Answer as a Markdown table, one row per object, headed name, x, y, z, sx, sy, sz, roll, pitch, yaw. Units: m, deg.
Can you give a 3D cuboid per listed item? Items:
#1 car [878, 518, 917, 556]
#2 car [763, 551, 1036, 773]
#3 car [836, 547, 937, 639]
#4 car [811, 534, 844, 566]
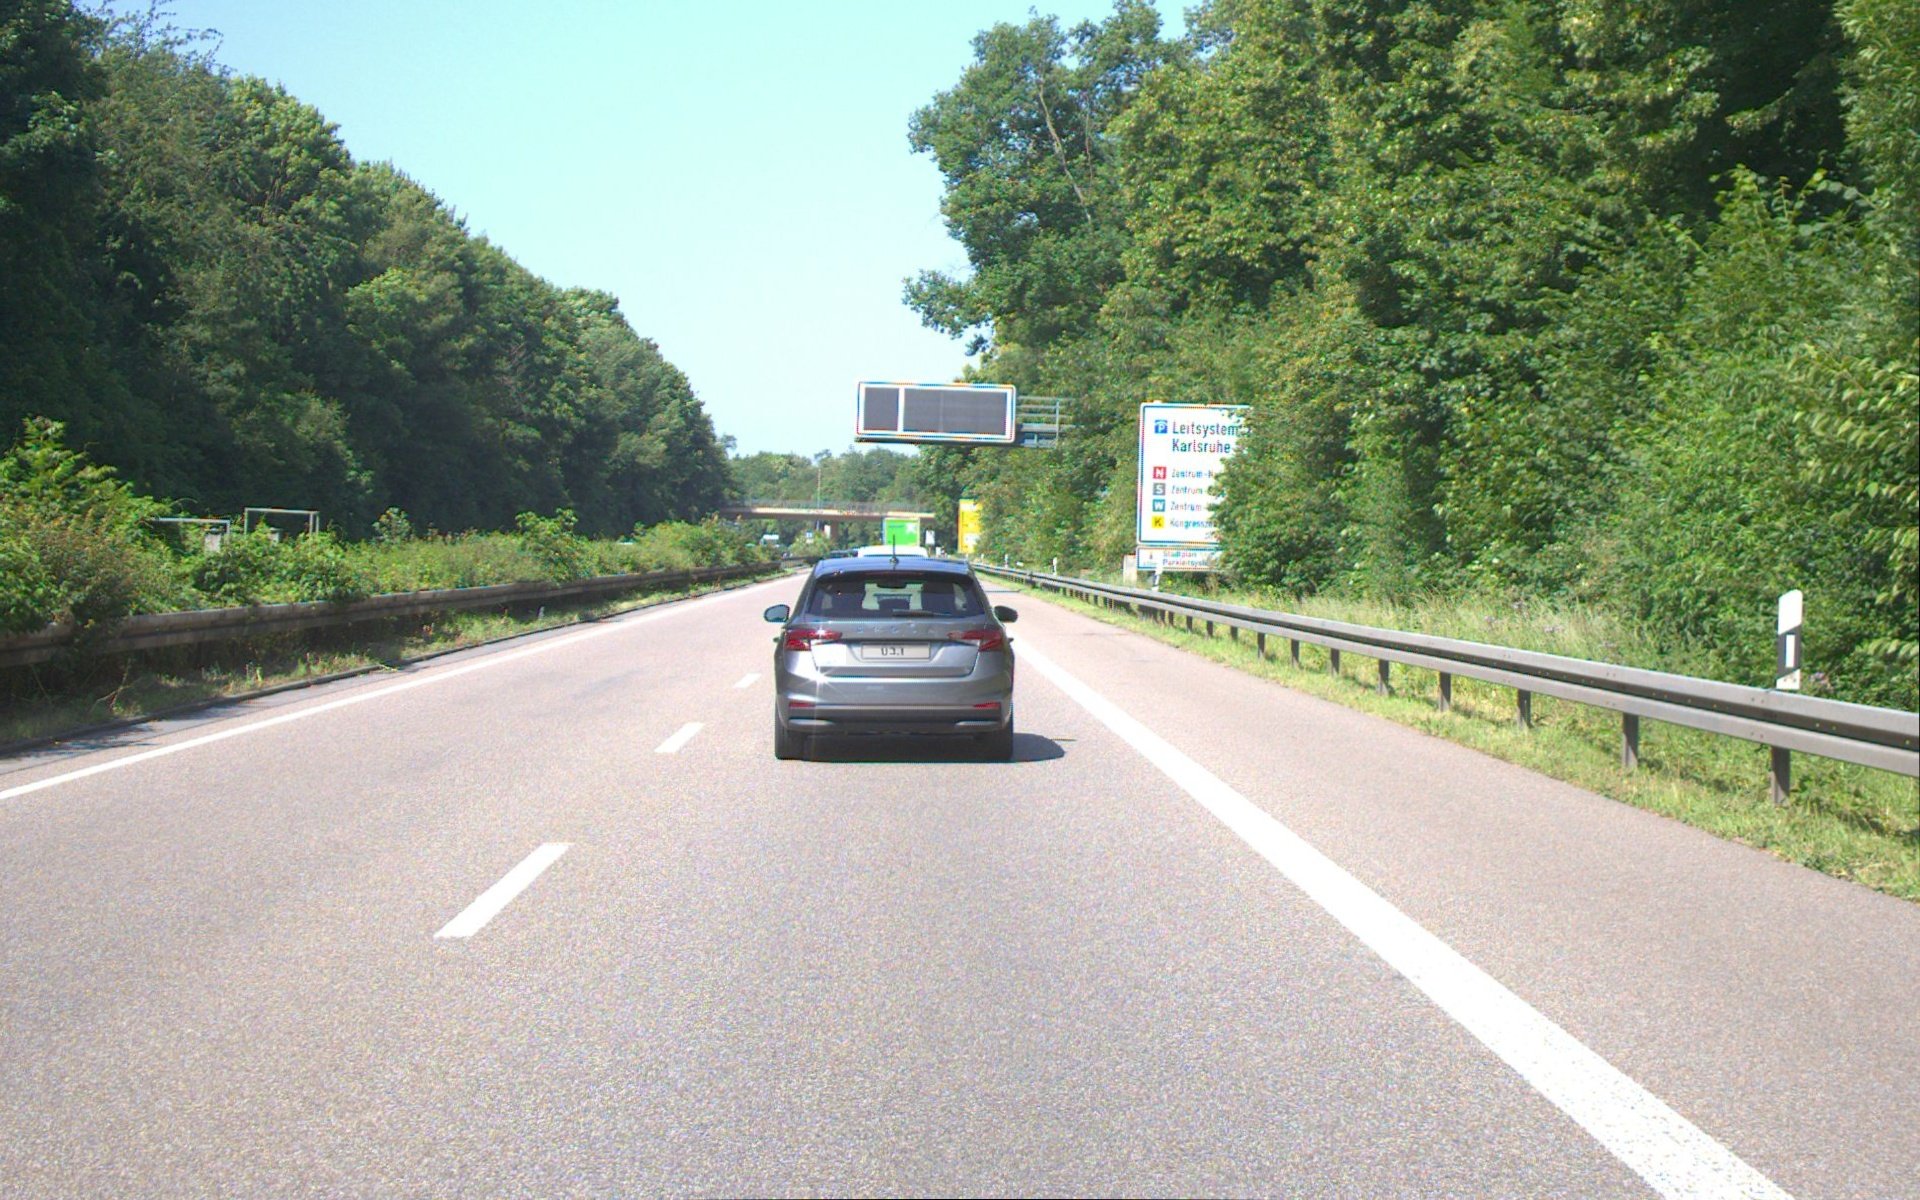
| name | x | y | z | sx | sy | sz | roll | pitch | yaw |
| --- | --- | --- | --- | --- | --- | --- | --- | --- | --- |
| car | -4.523 | -4.569 | 250.127 | 2.748 | 2.645 | 4.000 | 1 | 0 | -1 |
| car | -0.386 | 0.397 | 25.218 | 1.840 | 1.467 | 3.623 | 1 | 1 | 1 |
| car | -1.196 | -0.138 | 56.984 | 1.522 | 1.442 | 3.340 | 1 | 1 | 1 |
| car | -8.519 | -3.188 | 221.269 | 1.993 | 2.007 | 4.000 | 1 | 0 | -1 |
